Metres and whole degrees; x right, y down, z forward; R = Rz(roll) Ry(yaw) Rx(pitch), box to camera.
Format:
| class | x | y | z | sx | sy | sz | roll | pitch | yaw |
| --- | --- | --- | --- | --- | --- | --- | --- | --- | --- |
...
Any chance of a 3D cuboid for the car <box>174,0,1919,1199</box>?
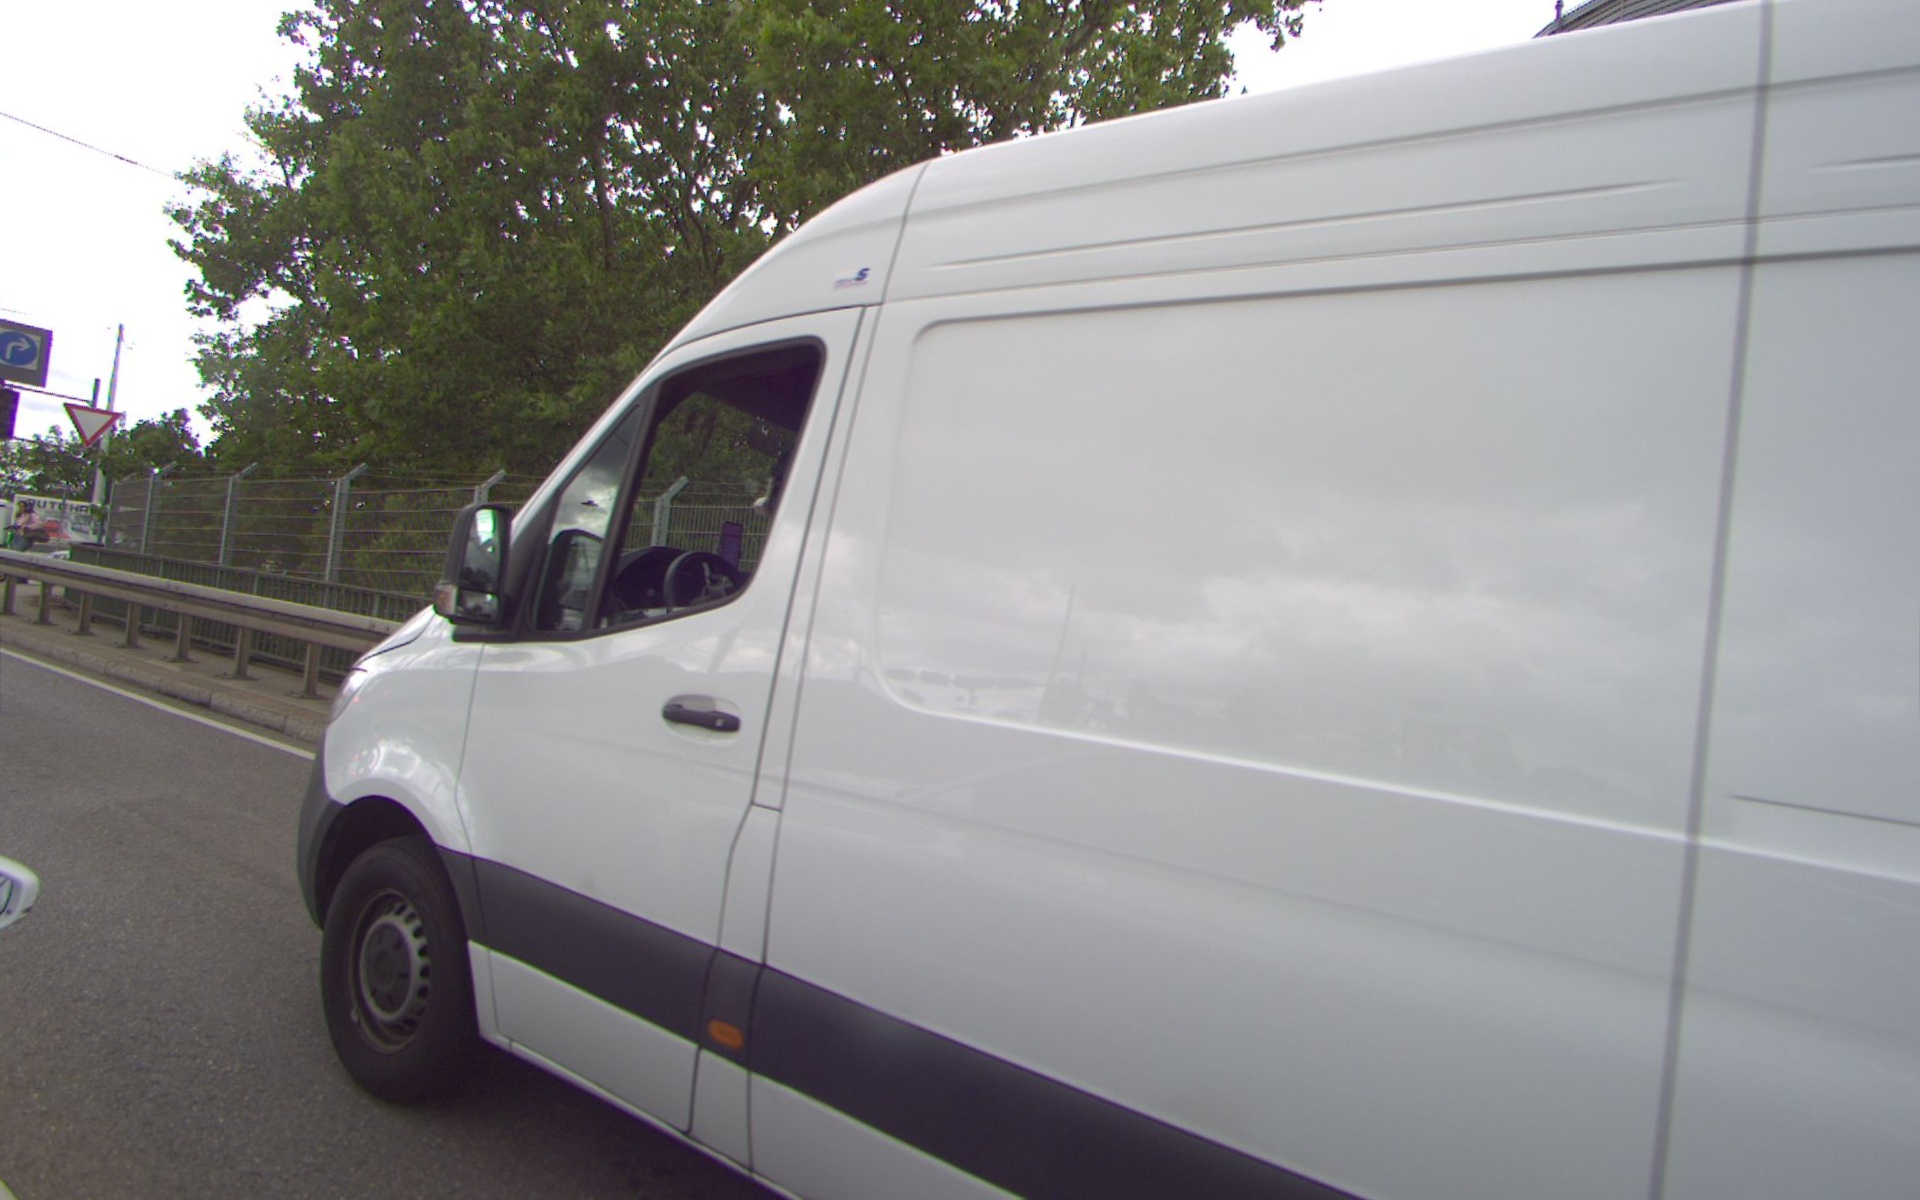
| class | x | y | z | sx | sy | sz | roll | pitch | yaw |
| --- | --- | --- | --- | --- | --- | --- | --- | --- | --- |
| car | 1.108 | 0.207 | 2.291 | 6.666 | 2.816 | 2.114 | 7 | -1 | 31 |

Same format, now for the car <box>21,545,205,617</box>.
| class | x | y | z | sx | sy | sz | roll | pitch | yaw |
| --- | --- | --- | --- | --- | --- | --- | --- | --- | --- |
| car | -26.682 | -0.556 | 31.803 | 1.784 | 1.684 | 3.993 | 7 | -2 | 34 |

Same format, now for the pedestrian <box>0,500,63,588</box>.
| class | x | y | z | sx | sy | sz | roll | pitch | yaw |
| --- | --- | --- | --- | --- | --- | --- | --- | --- | --- |
| pedestrian | -19.329 | -1.148 | 20.761 | 0.963 | 1.697 | 0.834 | 4 | -2 | 28 |

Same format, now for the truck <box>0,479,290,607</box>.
| class | x | y | z | sx | sy | sz | roll | pitch | yaw |
| --- | --- | --- | --- | --- | --- | --- | --- | --- | --- |
| truck | -32.942 | -2.241 | 39.817 | 10.136 | 3.559 | 2.779 | 9 | -1 | -29 |
